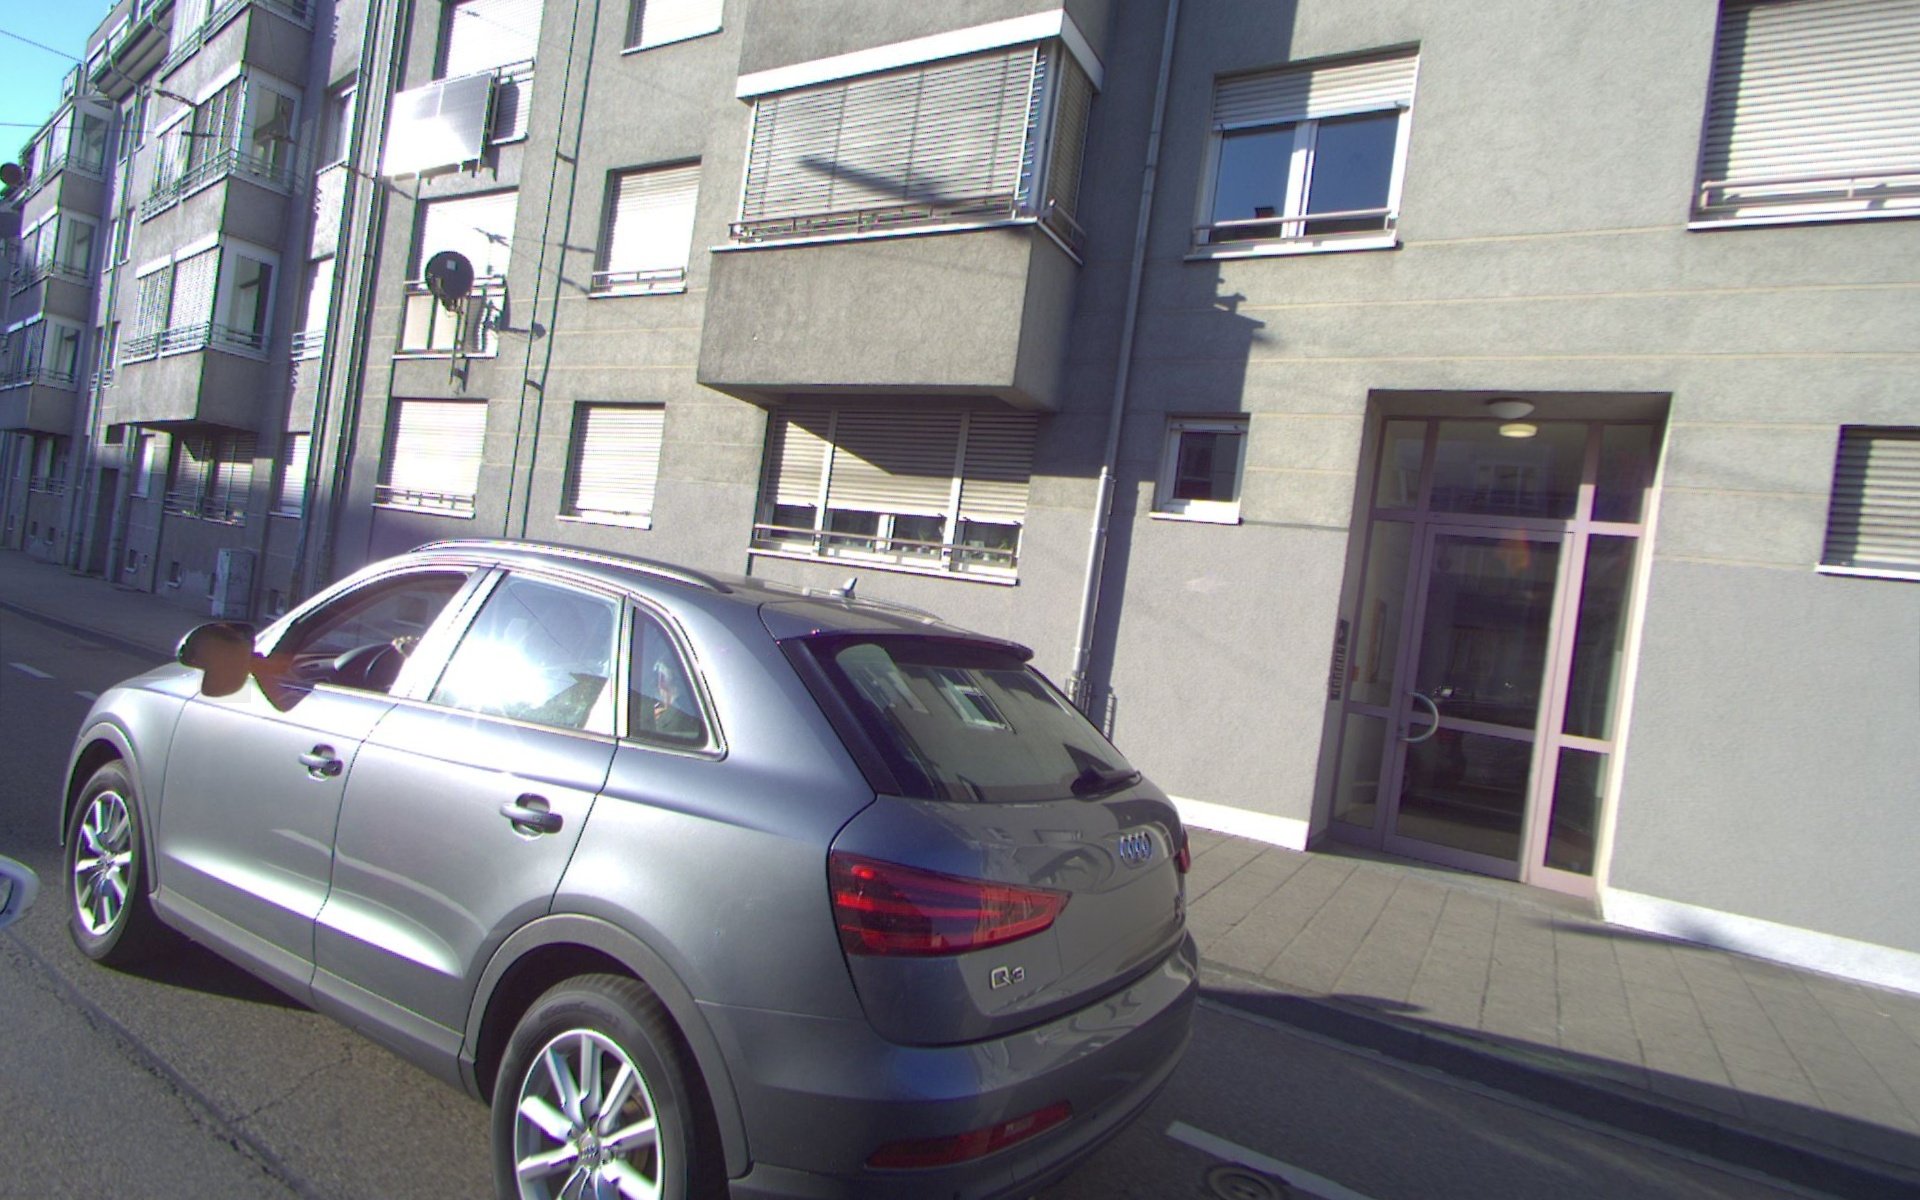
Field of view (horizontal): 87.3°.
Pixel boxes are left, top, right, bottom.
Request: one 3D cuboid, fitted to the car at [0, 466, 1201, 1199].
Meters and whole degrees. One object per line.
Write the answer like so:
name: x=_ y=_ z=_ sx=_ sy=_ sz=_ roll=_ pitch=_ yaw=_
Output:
car: x=-1.476 y=0.597 z=3.499 sx=4.000 sy=1.606 sz=1.769 roll=8 pitch=0 yaw=32
